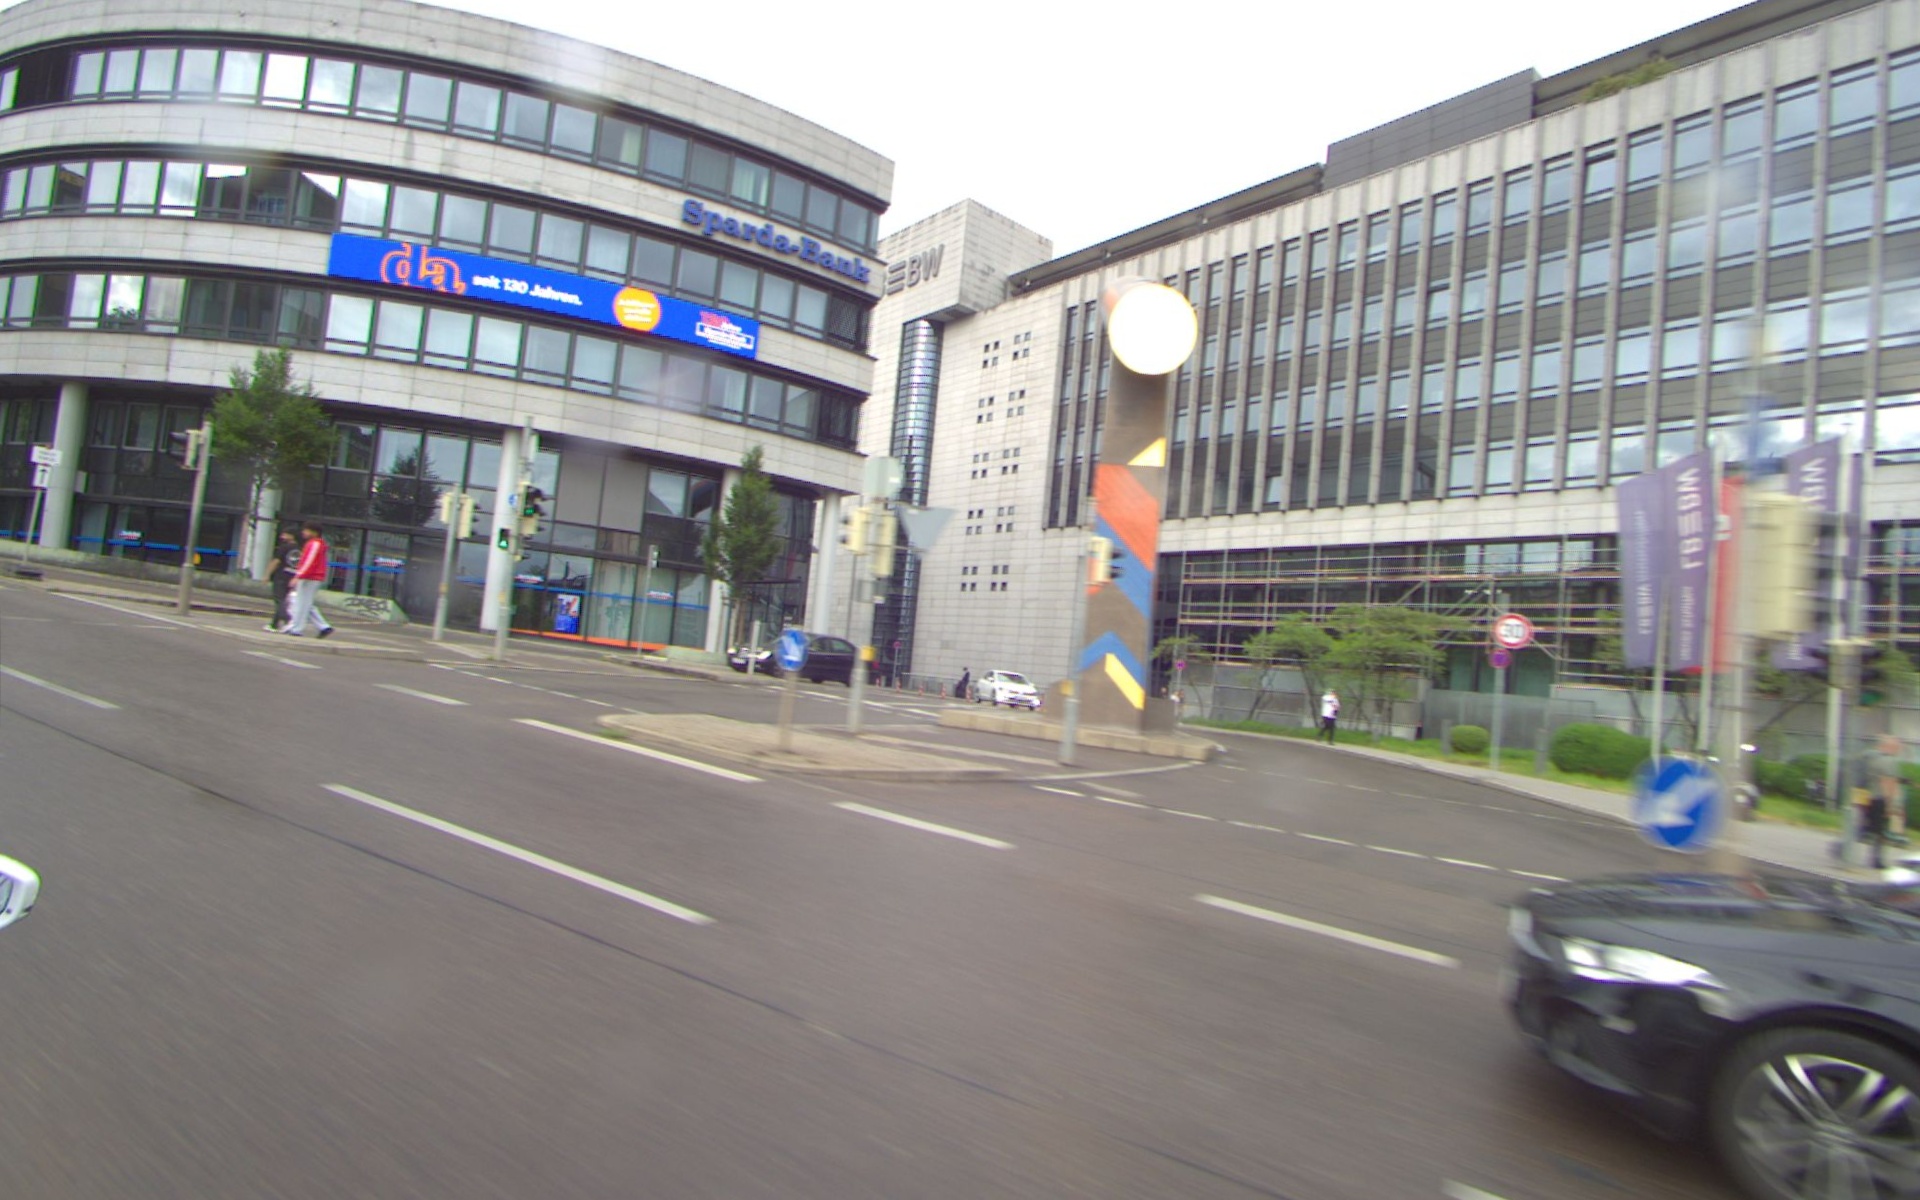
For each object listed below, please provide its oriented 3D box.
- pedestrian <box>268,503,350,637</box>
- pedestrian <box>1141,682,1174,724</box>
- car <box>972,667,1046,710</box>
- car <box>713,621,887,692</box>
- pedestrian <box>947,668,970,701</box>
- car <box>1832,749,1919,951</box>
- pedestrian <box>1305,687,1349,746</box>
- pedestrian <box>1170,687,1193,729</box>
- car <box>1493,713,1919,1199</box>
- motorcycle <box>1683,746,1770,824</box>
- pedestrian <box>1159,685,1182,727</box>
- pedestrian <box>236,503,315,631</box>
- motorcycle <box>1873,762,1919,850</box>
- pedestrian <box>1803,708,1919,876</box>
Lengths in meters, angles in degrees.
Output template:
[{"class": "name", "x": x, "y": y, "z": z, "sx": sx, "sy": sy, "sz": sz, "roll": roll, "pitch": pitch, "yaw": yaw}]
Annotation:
[{"class": "pedestrian", "x": -10.109, "y": -0.447, "z": 15.626, "sx": 0.835, "sy": 1.925, "sz": 0.854, "roll": 8, "pitch": -4, "yaw": -34}, {"class": "pedestrian", "x": 9.300, "y": 4.838, "z": 47.335, "sx": 0.936, "sy": 1.765, "sz": 0.896, "roll": 10, "pitch": -2, "yaw": -33}, {"class": "car", "x": 1.872, "y": 3.515, "z": 40.003, "sx": 1.836, "sy": 1.456, "sz": 4.000, "roll": 6, "pitch": -5, "yaw": -12}, {"class": "car", "x": -4.450, "y": 1.636, "z": 28.542, "sx": 1.842, "sy": 1.457, "sz": 4.697, "roll": 3, "pitch": -6, "yaw": 41}, {"class": "pedestrian", "x": -0.113, "y": 4.983, "z": 59.304, "sx": 1.064, "sy": 1.741, "sz": 0.656, "roll": 8, "pitch": -1, "yaw": -8}, {"class": "car", "x": 10.008, "y": 2.388, "z": 7.793, "sx": 1.762, "sy": 1.652, "sz": 4.538, "roll": 9, "pitch": -3, "yaw": -35}, {"class": "pedestrian", "x": 12.227, "y": 3.878, "z": 33.542, "sx": 0.957, "sy": 1.837, "sz": 0.778, "roll": 7, "pitch": -3, "yaw": -19}, {"class": "pedestrian", "x": 9.989, "y": 4.852, "z": 45.338, "sx": 0.557, "sy": 1.765, "sz": 0.548, "roll": 9, "pitch": -2, "yaw": -33}, {"class": "car", "x": 4.158, "y": 1.373, "z": 3.274, "sx": 4.155, "sy": 1.424, "sz": 1.759, "roll": 5, "pitch": -1, "yaw": 28}, {"class": "motorcycle", "x": 14.867, "y": 3.556, "z": 19.588, "sx": 0.623, "sy": 1.094, "sz": 2.570, "roll": 7, "pitch": 0, "yaw": 23}, {"class": "pedestrian", "x": 9.418, "y": 4.758, "z": 45.020, "sx": 0.557, "sy": 1.765, "sz": 0.548, "roll": 9, "pitch": -2, "yaw": -33}, {"class": "pedestrian", "x": -11.067, "y": -0.514, "z": 16.280, "sx": 0.835, "sy": 1.926, "sz": 0.726, "roll": 8, "pitch": -2, "yaw": -34}, {"class": "motorcycle", "x": 16.883, "y": 3.640, "z": 17.673, "sx": 0.595, "sy": 1.370, "sz": 1.730, "roll": 7, "pitch": -2, "yaw": 23}, {"class": "pedestrian", "x": 12.617, "y": 2.624, "z": 13.993, "sx": 0.887, "sy": 2.120, "sz": 0.857, "roll": 8, "pitch": -3, "yaw": 7}]
